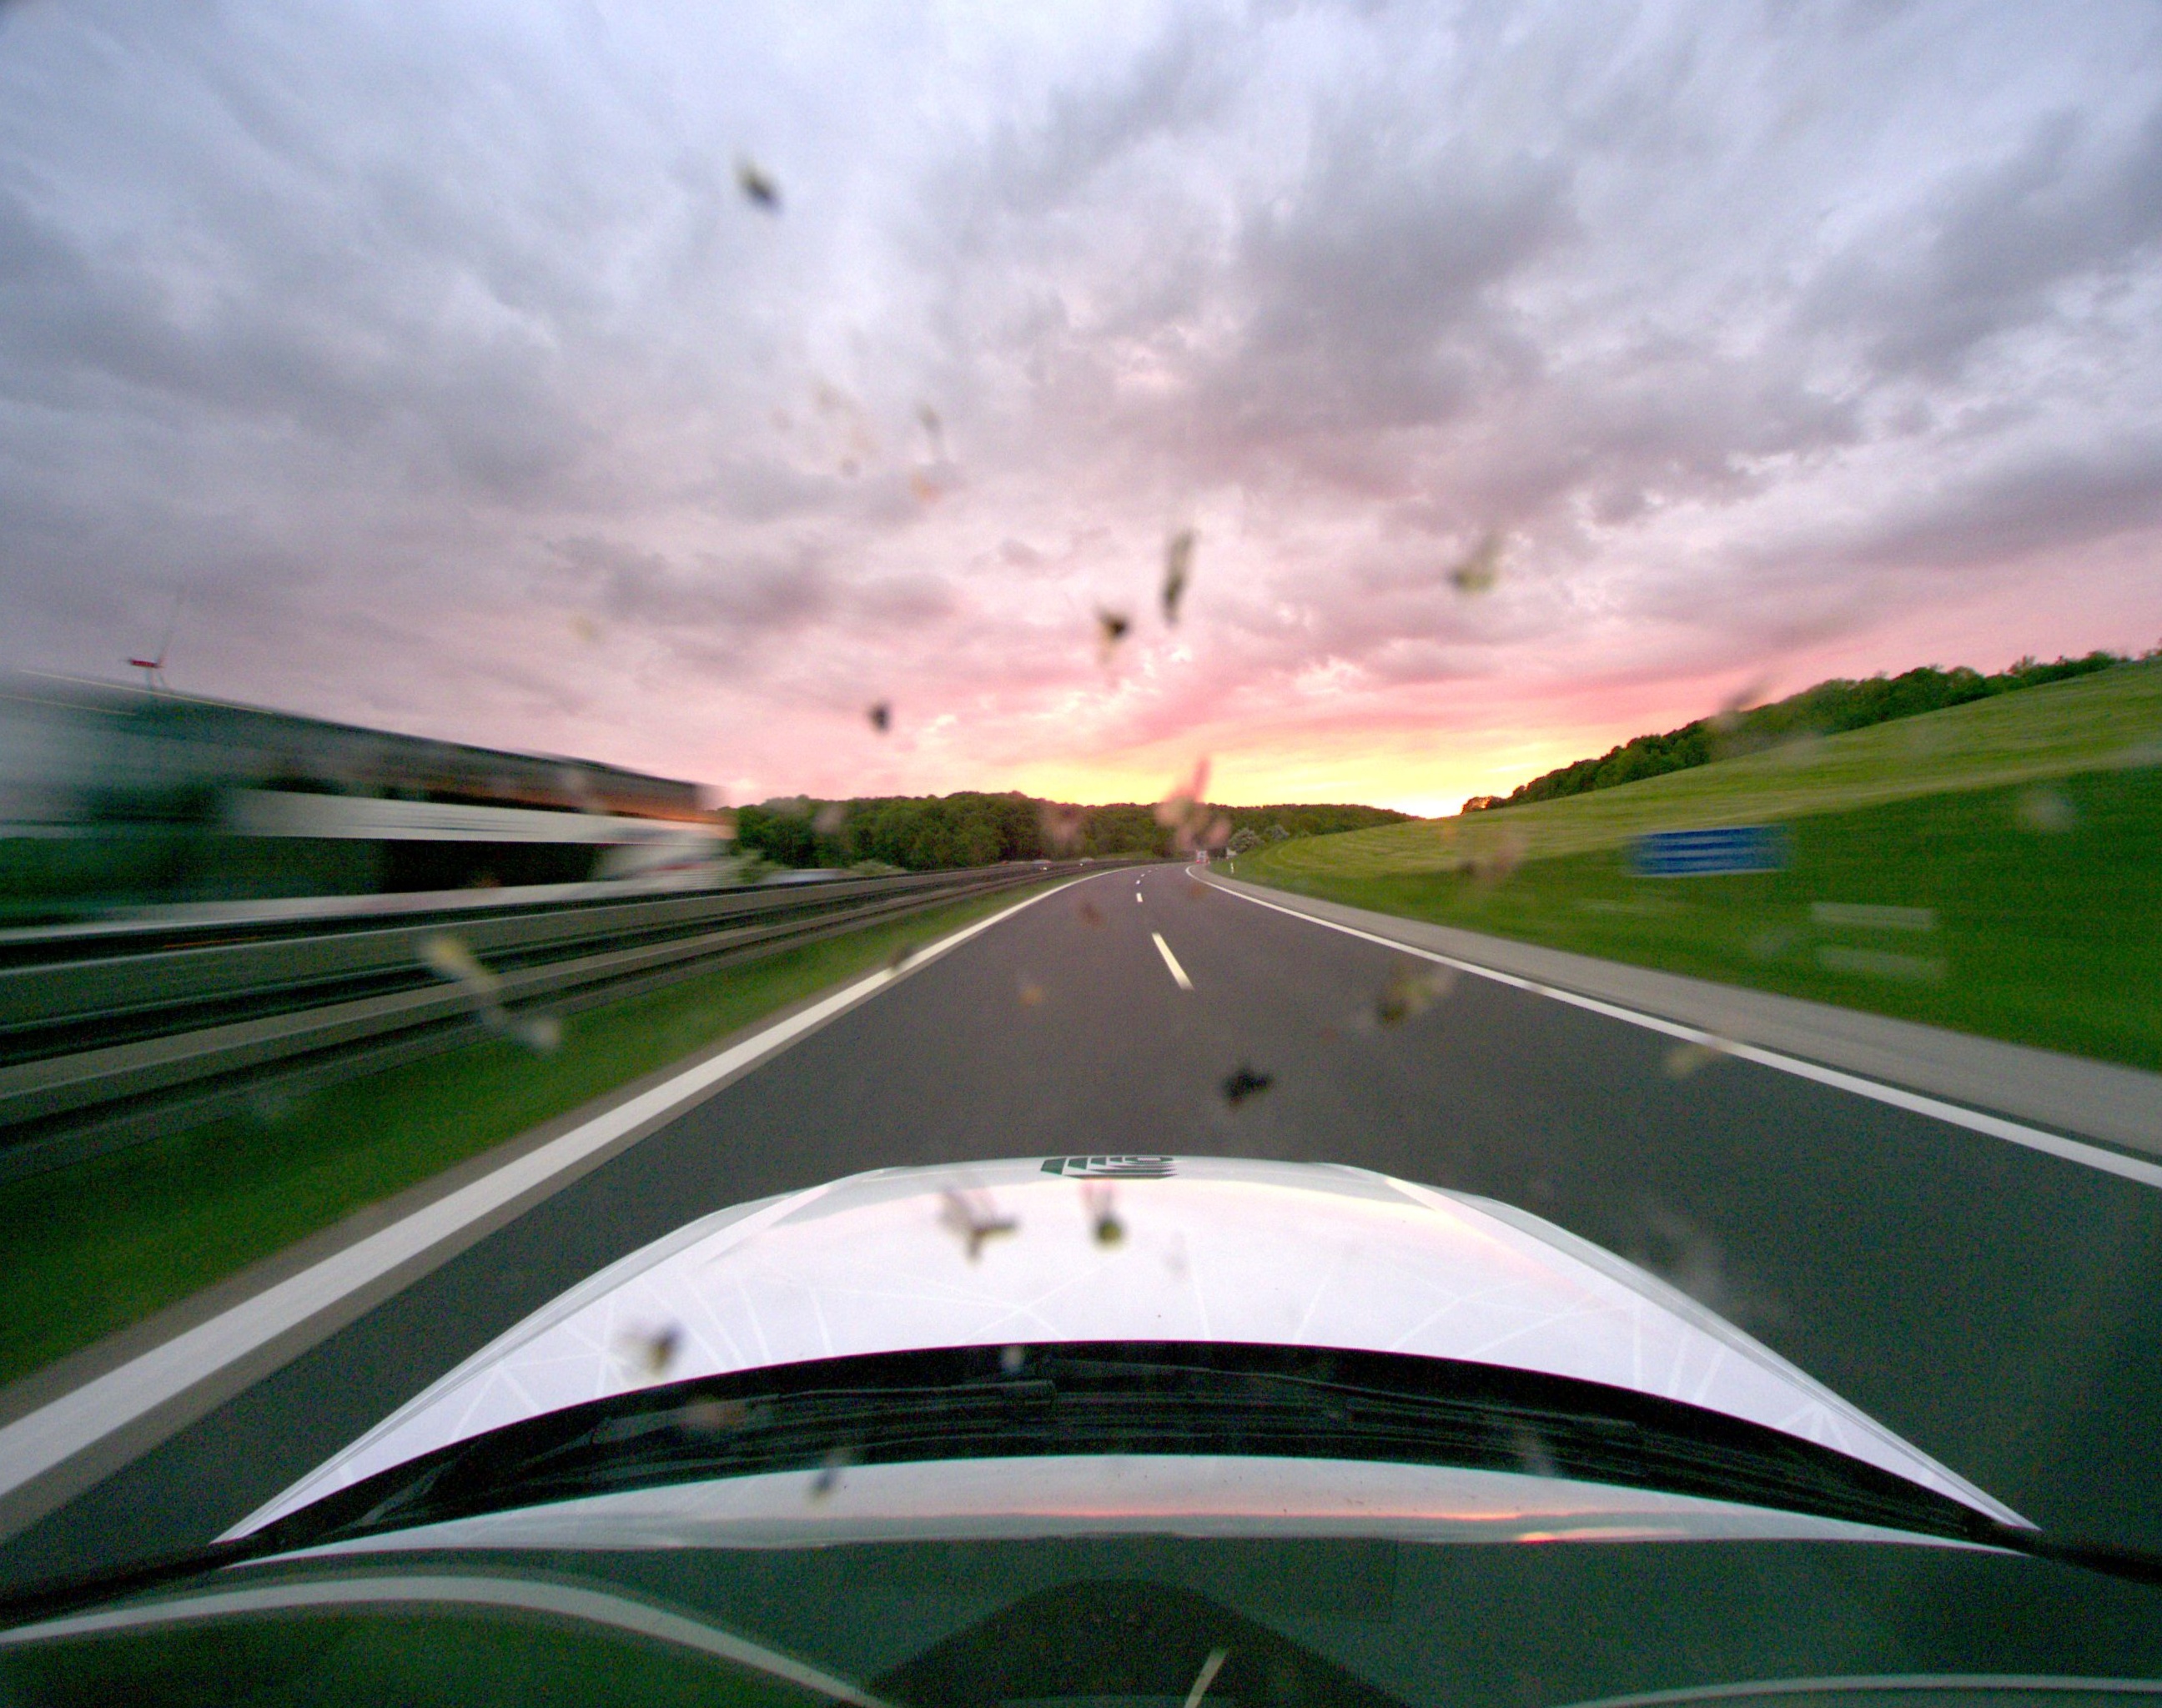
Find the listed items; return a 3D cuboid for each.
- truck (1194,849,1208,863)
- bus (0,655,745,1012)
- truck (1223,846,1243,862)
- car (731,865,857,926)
[{"bbox_3d":[25.468,0.409,172.354,2.260,2.665,5.256,-3,0,14],"label":"truck"},{"bbox_3d":[-11.814,-0.149,16.740,3.153,4.076,14.818,0,-1,2],"label":"bus"},{"bbox_3d":[45.101,0.060,241.316,3.927,4.287,14.387,-2,-1,17],"label":"truck"},{"bbox_3d":[-8.071,1.108,23.357,1.843,1.475,4.172,-3,0,4],"label":"car"}]
